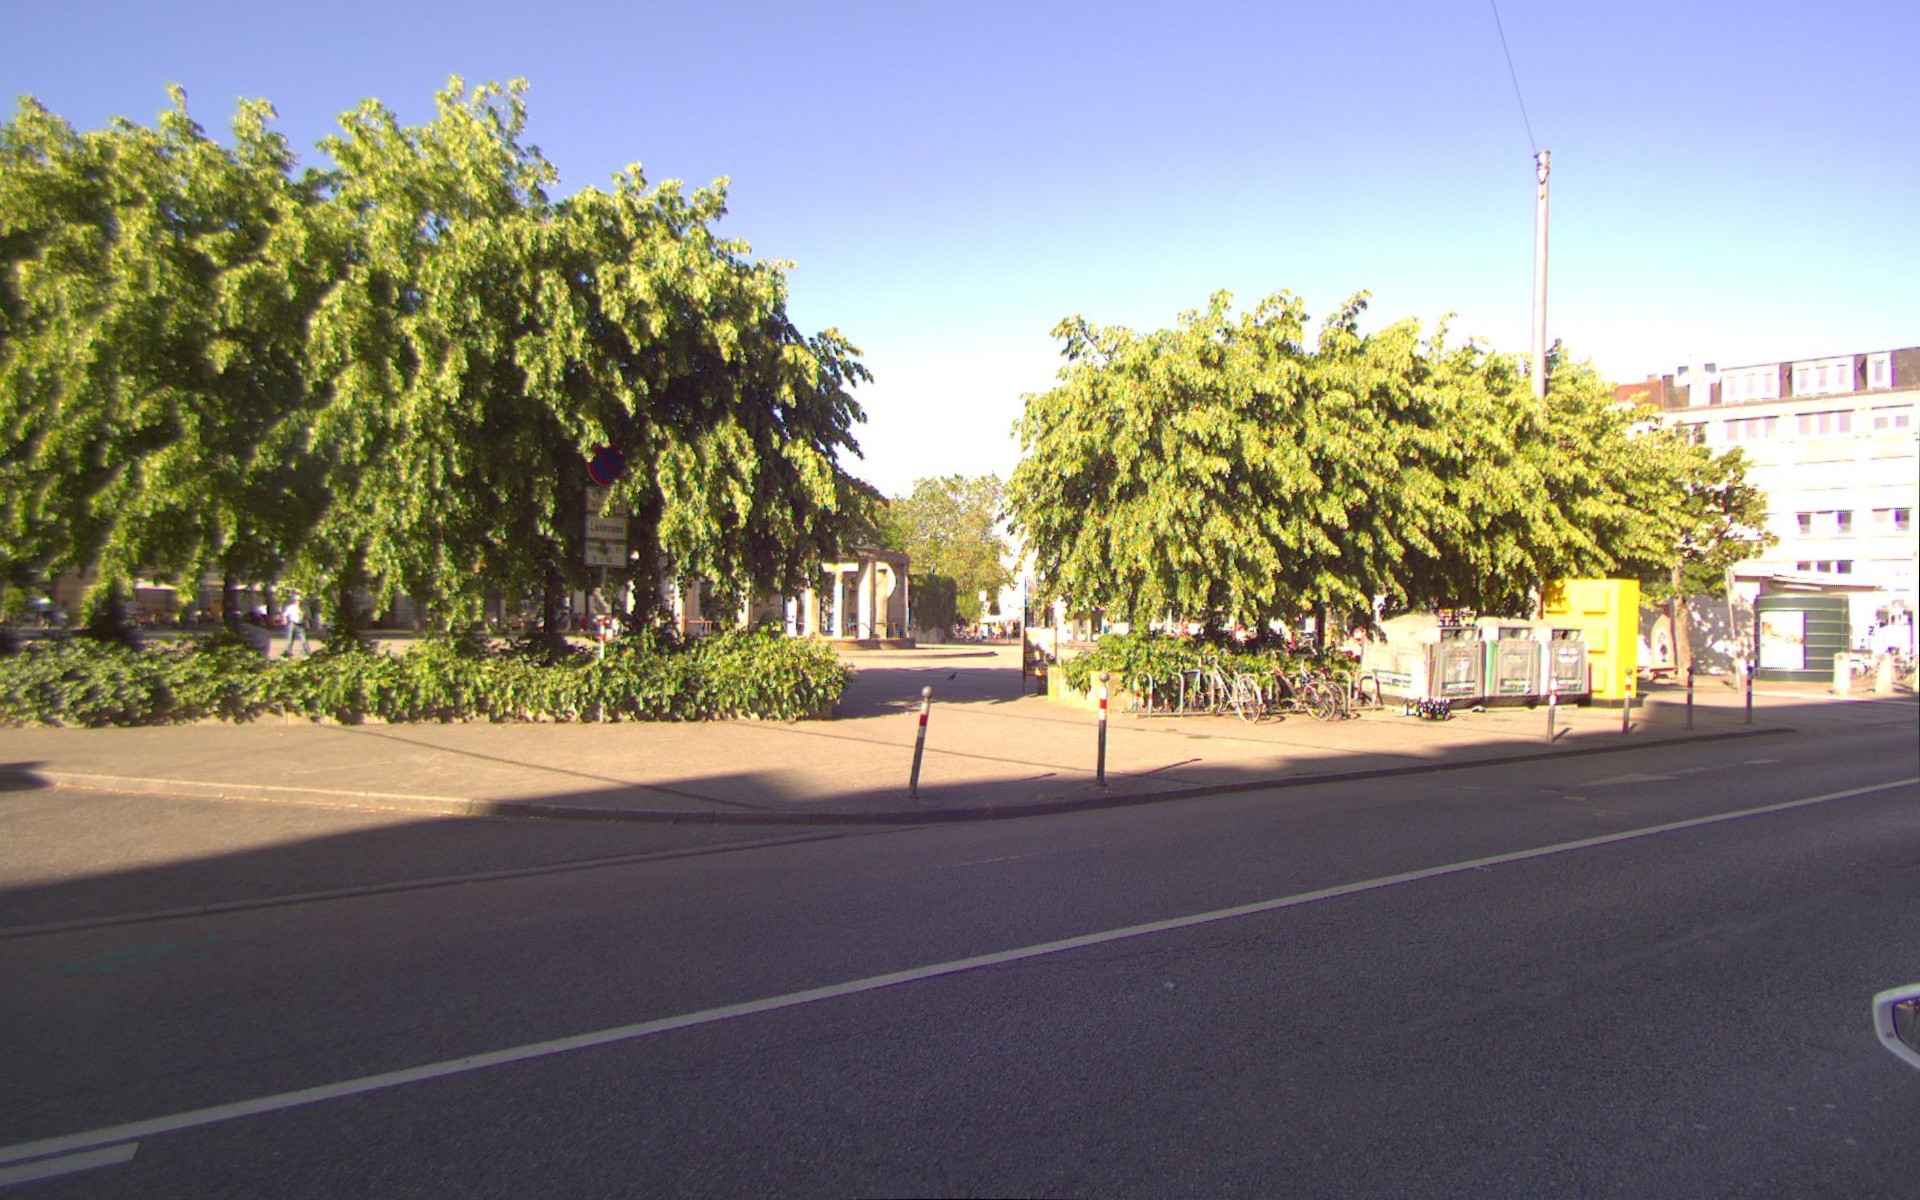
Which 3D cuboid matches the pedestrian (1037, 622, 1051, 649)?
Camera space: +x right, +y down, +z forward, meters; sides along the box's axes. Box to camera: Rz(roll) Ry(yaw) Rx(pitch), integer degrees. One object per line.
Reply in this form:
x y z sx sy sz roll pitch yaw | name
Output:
6.506 2.761 77.812 0.860 2.040 0.902 2 0 -5 | pedestrian

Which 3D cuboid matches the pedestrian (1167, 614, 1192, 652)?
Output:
12.089 1.827 55.308 1.014 2.040 1.159 1 0 -5 | pedestrian

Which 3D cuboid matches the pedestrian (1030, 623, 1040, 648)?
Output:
5.986 2.834 80.564 0.628 1.974 0.676 2 0 -7 | pedestrian

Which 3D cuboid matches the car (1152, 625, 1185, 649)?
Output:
13.481 2.377 65.110 1.658 1.405 3.575 1 -1 5 | car

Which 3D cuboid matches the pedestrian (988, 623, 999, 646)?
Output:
3.080 3.151 92.498 0.860 2.040 0.902 2 0 -5 | pedestrian

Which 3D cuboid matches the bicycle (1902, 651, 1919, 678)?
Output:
35.111 2.337 36.028 0.599 0.946 1.854 2 0 -30 | bicycle

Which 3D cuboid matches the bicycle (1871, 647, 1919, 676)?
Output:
33.179 2.150 35.130 0.599 0.946 1.855 2 0 -30 | bicycle

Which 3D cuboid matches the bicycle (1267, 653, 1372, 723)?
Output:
5.827 1.405 16.416 0.508 0.968 1.898 2 0 -20 | bicycle

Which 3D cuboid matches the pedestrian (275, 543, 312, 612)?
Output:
-17.121 -0.566 25.800 0.599 1.744 0.644 2 0 41 | pedestrian

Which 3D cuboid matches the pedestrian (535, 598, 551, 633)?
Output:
-23.942 0.894 57.658 0.669 1.974 0.634 2 0 -33 | pedestrian

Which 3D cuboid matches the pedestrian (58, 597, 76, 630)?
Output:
-47.697 0.727 53.659 0.600 1.744 0.643 2 0 45 | pedestrian

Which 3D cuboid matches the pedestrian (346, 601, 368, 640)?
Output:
-26.757 0.908 44.586 0.599 1.744 0.644 2 0 37 | pedestrian

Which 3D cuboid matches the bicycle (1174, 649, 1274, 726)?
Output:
4.071 1.330 15.655 0.508 1.029 1.930 2 0 -19 | bicycle

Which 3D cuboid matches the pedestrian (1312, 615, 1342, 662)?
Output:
13.500 1.411 36.991 0.774 1.720 0.763 1 0 -6 | pedestrian

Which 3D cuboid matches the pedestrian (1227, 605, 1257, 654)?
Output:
11.826 1.230 42.123 0.875 2.040 0.896 1 0 -17 | pedestrian

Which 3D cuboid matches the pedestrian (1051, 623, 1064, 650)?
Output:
7.558 2.860 77.908 0.860 2.040 0.902 2 0 -5 | pedestrian

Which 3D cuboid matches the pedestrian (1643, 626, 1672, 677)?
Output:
24.013 1.766 34.586 0.700 1.739 0.475 2 0 -20 | pedestrian

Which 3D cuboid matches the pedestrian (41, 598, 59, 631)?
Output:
-48.710 0.774 53.753 0.600 1.744 0.643 2 0 45 | pedestrian

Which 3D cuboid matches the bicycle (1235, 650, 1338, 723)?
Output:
5.256 1.369 16.310 0.508 1.016 1.923 2 0 -20 | bicycle

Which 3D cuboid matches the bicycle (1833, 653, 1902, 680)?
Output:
30.822 2.249 34.126 0.600 0.802 1.634 2 0 -33 | bicycle

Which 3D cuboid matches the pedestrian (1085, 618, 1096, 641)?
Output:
12.913 2.939 99.445 0.860 2.199 0.902 2 0 -5 | pedestrian
